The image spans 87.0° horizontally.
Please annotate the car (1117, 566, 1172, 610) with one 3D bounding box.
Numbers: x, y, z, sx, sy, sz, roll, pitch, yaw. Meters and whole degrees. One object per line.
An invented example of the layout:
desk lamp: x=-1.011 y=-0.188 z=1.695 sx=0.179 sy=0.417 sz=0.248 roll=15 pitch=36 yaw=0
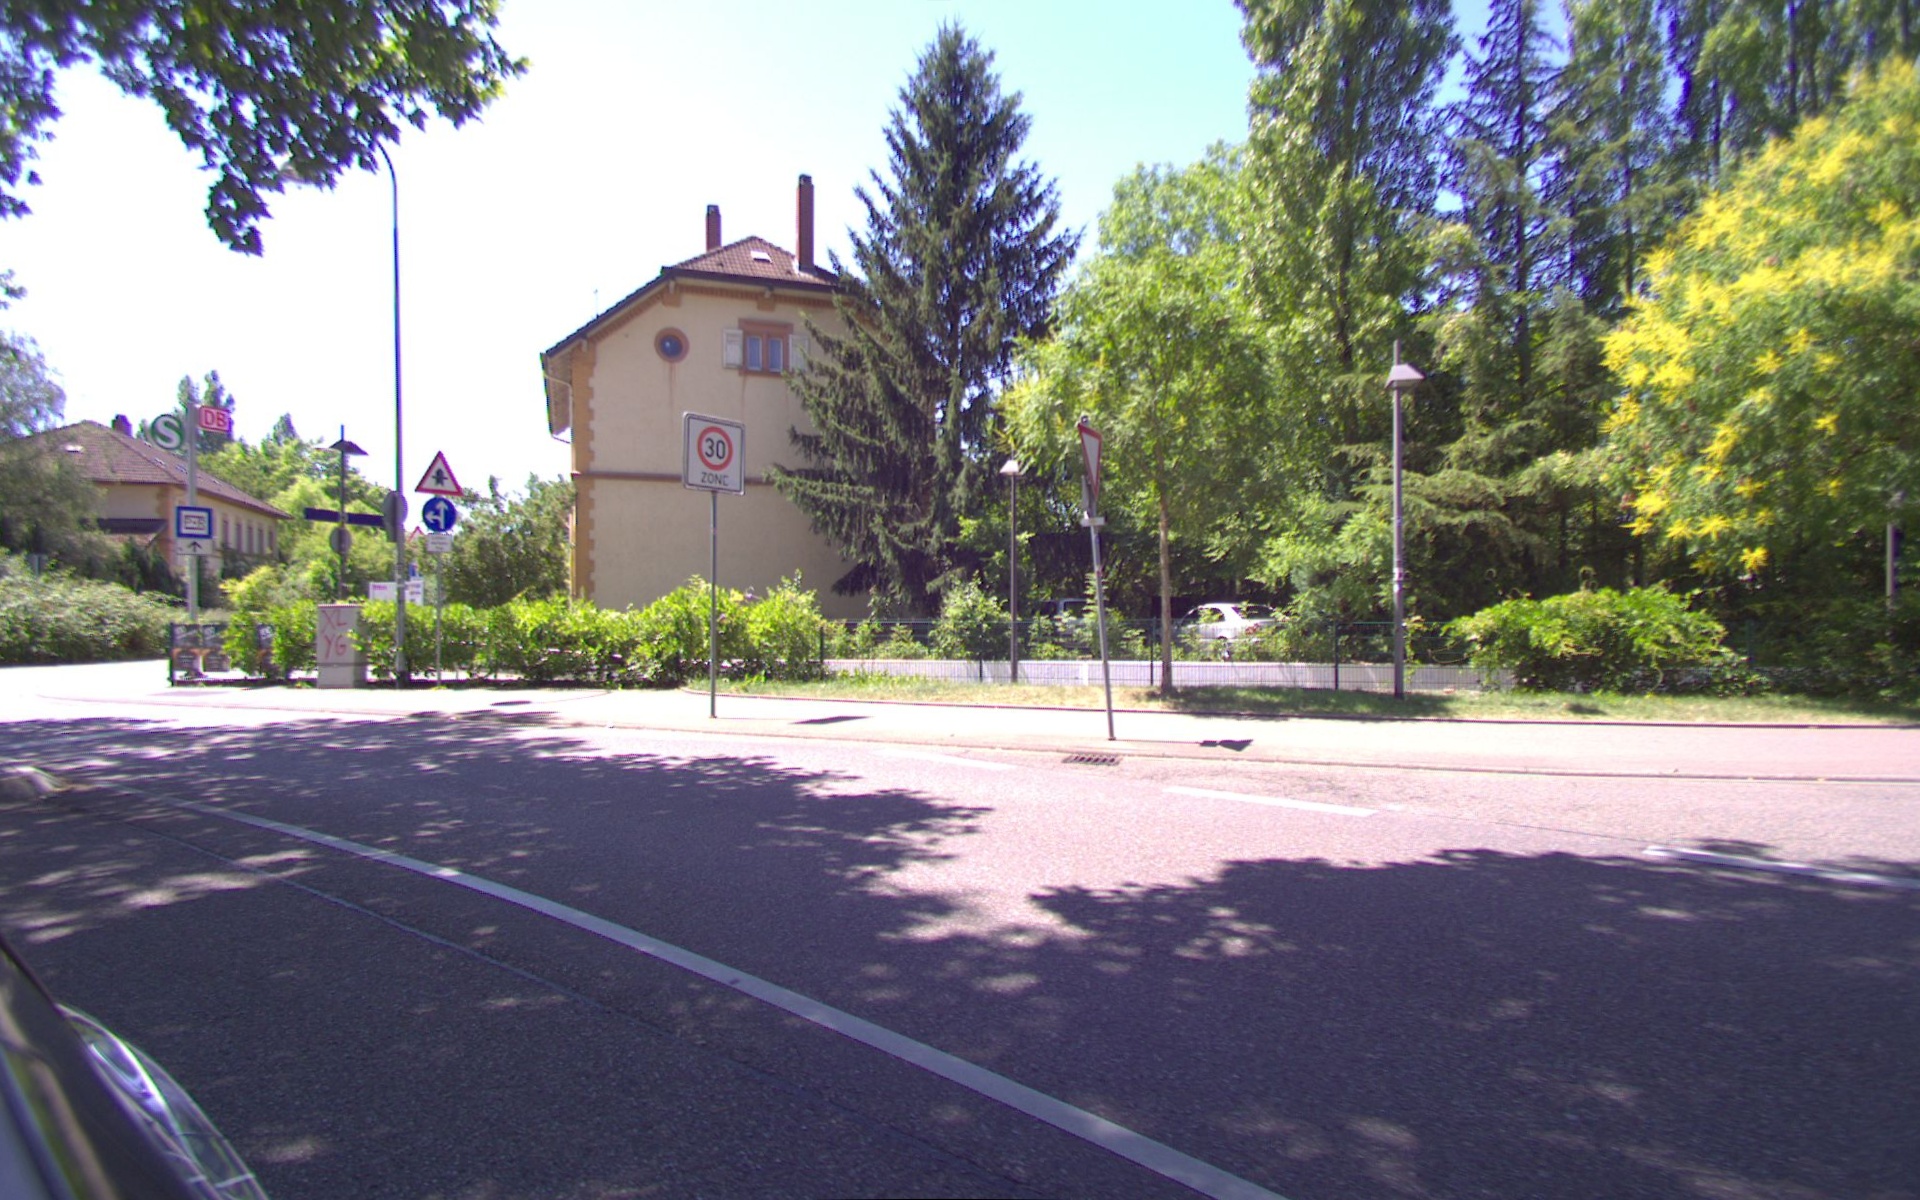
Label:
car: x=7.437 y=-0.445 z=41.028 sx=1.760 sy=1.720 sz=3.539 roll=0 pitch=-1 yaw=4
